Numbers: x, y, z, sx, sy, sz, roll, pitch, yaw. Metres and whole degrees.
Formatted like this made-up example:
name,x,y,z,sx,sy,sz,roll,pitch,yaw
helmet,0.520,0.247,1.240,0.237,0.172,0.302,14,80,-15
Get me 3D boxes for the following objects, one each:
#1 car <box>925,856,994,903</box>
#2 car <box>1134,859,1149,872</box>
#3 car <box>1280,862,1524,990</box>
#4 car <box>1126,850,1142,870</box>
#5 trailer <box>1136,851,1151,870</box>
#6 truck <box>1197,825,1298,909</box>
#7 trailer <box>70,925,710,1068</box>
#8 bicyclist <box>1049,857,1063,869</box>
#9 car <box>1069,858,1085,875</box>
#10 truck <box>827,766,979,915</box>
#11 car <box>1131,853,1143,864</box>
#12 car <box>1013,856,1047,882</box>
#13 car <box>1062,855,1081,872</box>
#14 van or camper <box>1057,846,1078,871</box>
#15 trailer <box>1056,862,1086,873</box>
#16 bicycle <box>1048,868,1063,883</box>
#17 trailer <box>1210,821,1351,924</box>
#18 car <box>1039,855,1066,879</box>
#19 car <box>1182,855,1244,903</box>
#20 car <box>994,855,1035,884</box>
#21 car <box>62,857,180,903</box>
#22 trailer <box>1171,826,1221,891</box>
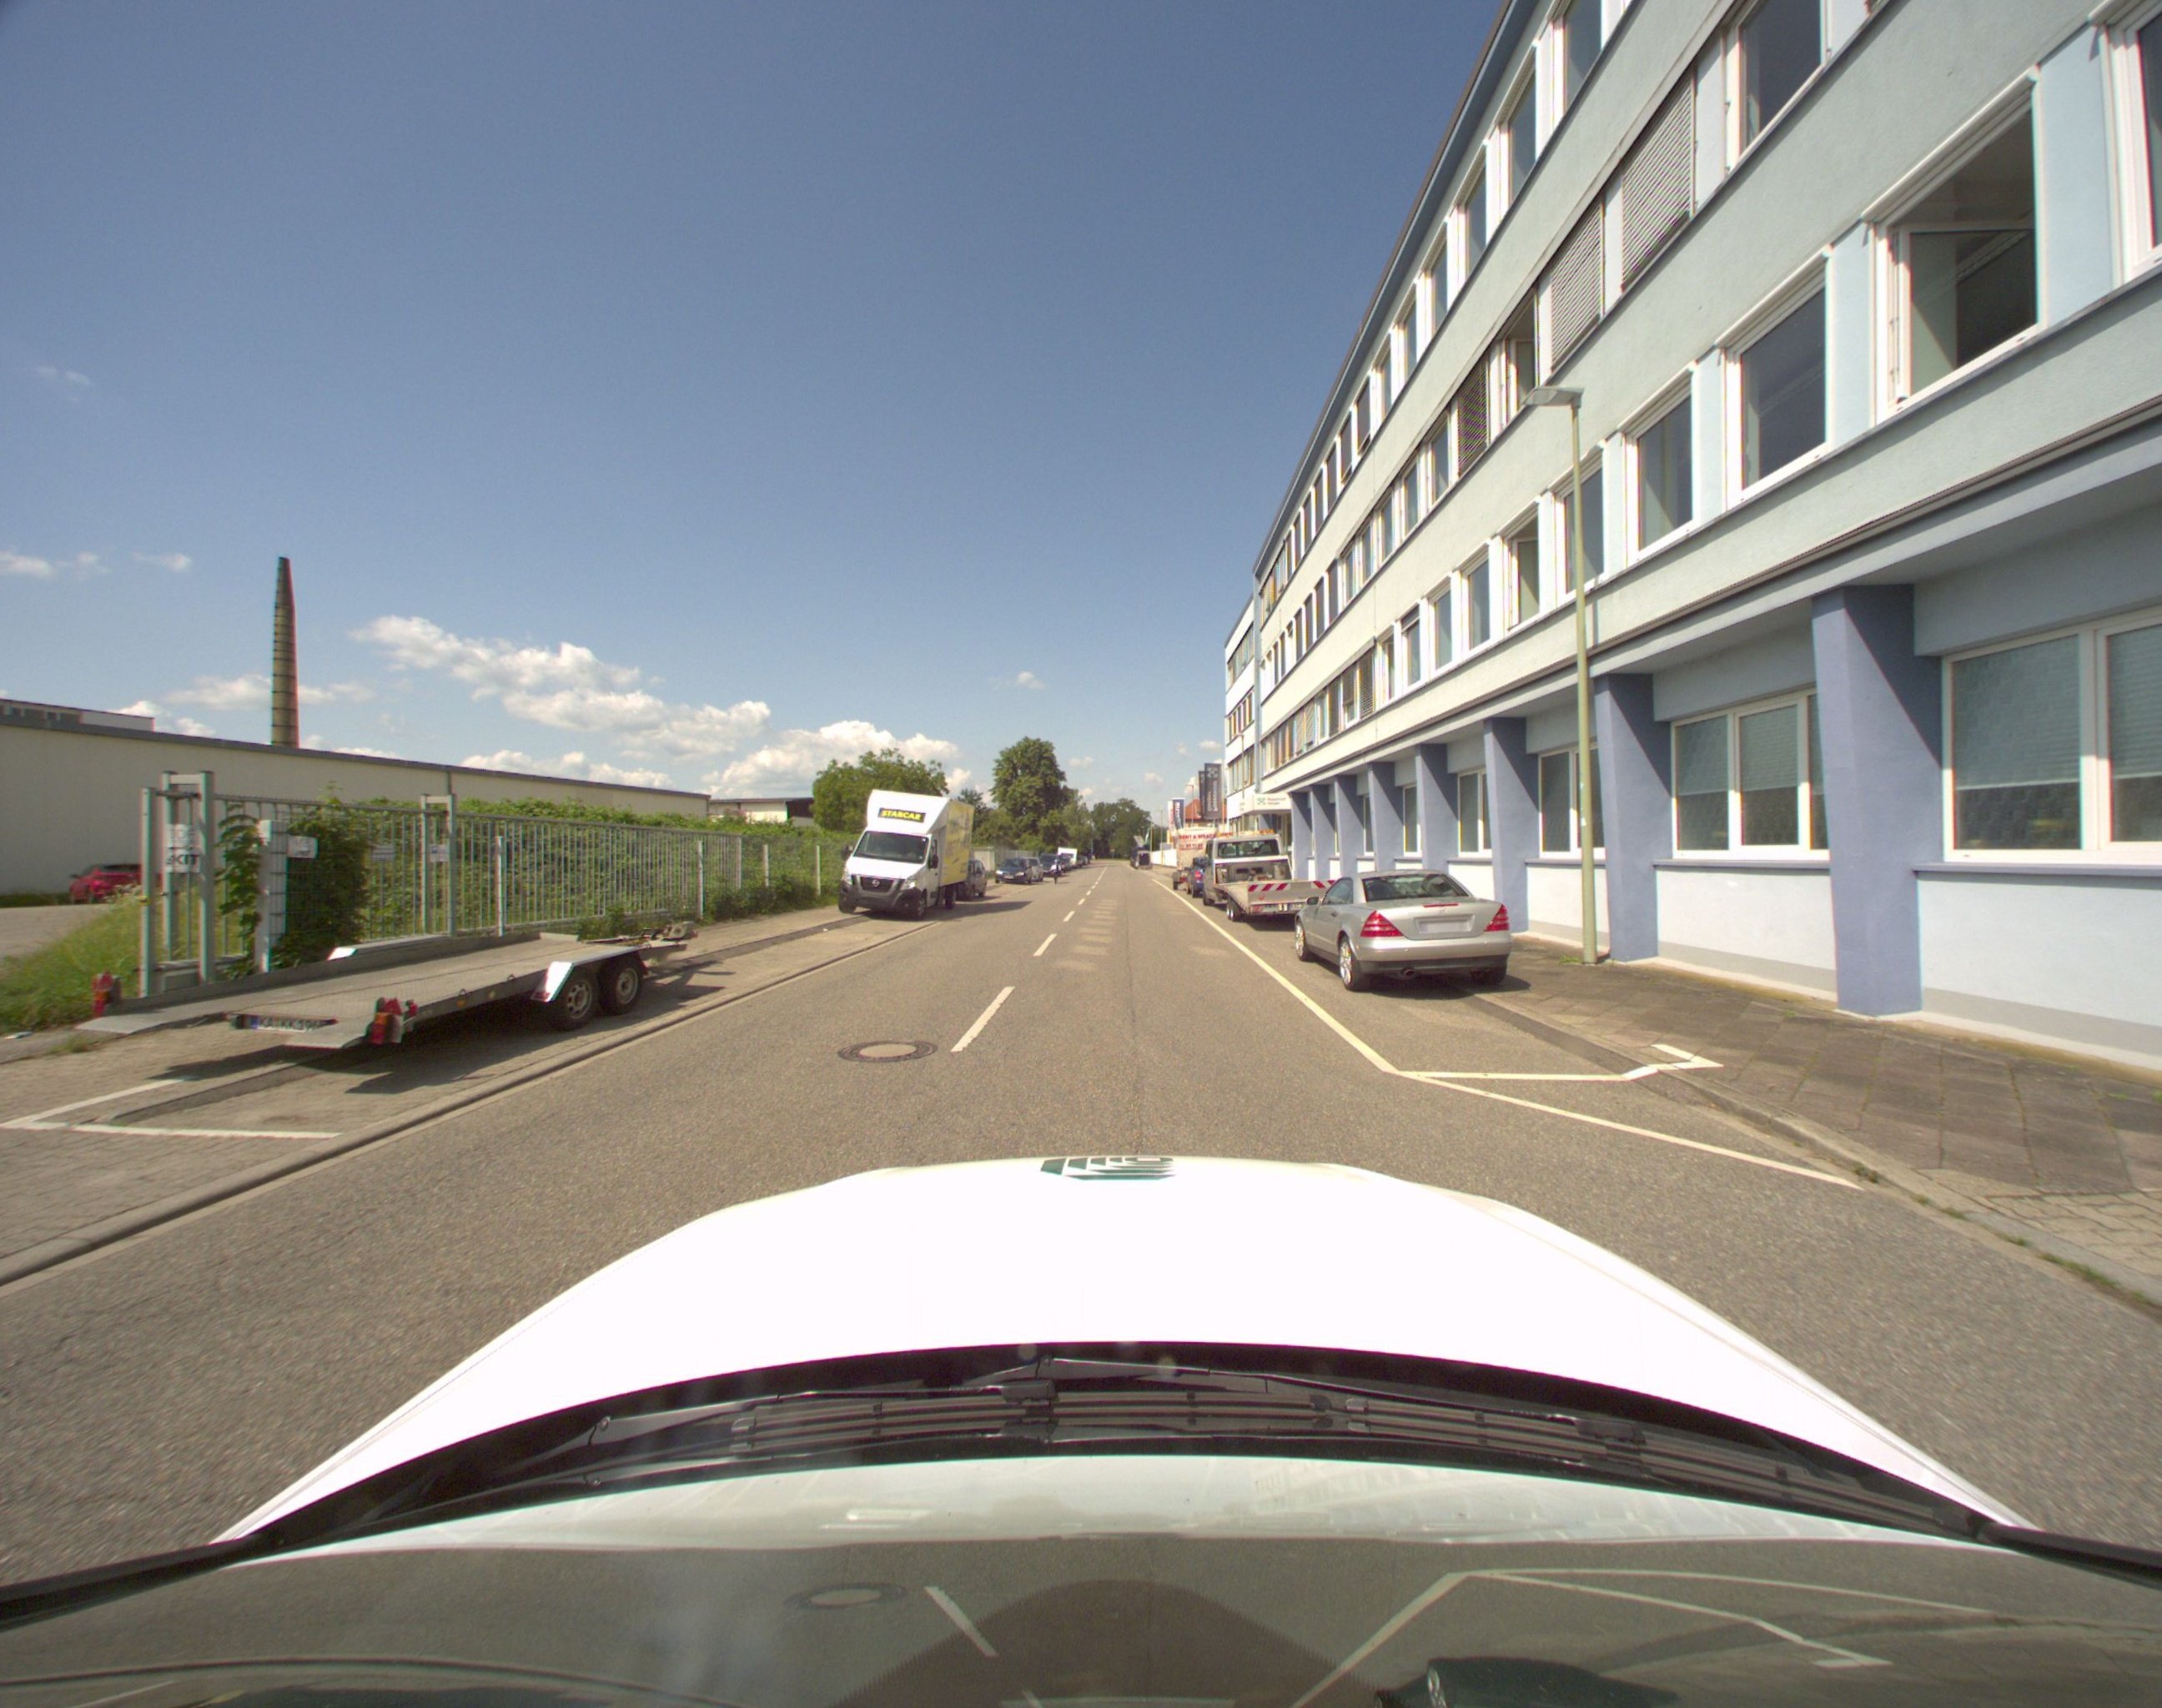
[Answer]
name,x,y,z,sx,sy,sz,roll,pitch,yaw
car,-4.317,0.872,29.429,1.612,1.429,3.829,6,0,3
car,7.123,1.347,96.477,1.566,1.507,4.134,0,0,2
car,3.762,0.755,10.309,1.640,1.246,4.002,-1,0,2
car,7.426,0.872,114.409,1.930,2.748,6.156,0,0,2
trailer,6.929,0.723,90.205,1.595,2.037,2.742,0,-1,2
truck,4.402,0.330,22.278,1.956,2.035,4.736,0,0,2
trailer,-5.729,1.163,7.777,2.227,0.552,4.446,1,0,1
bicyclist,-1.408,0.485,45.934,0.563,0.631,1.860,1,0,5
car,-0.450,1.411,92.375,1.678,1.692,4.443,4,0,-1
truck,-4.618,-0.276,22.588,2.242,3.362,6.908,4,-1,2
car,8.708,0.740,126.863,1.817,1.664,4.559,-1,0,3
car,-3.077,0.863,49.582,1.609,1.483,3.712,2,0,2
car,-0.948,0.975,86.095,1.820,1.793,4.737,-1,0,2
van or camper,-1.600,0.586,101.361,2.255,2.803,6.834,3,0,1
trailer,-0.860,1.276,77.419,2.261,0.883,7.138,4,0,4
bicycle,-1.416,1.203,45.937,0.585,0.741,2.128,0,0,5
trailer,4.293,0.360,18.543,1.965,1.971,5.769,-1,0,2
car,-2.165,0.968,62.787,1.794,1.750,4.715,-1,0,2
car,4.583,0.844,28.762,1.711,1.542,4.406,1,-1,3
car,-3.595,0.815,44.623,1.562,1.399,3.803,5,0,4
car,-34.534,0.888,29.294,3.949,1.534,2.012,0,0,29
trailer,4.828,0.198,34.829,1.860,2.553,5.079,0,0,5
